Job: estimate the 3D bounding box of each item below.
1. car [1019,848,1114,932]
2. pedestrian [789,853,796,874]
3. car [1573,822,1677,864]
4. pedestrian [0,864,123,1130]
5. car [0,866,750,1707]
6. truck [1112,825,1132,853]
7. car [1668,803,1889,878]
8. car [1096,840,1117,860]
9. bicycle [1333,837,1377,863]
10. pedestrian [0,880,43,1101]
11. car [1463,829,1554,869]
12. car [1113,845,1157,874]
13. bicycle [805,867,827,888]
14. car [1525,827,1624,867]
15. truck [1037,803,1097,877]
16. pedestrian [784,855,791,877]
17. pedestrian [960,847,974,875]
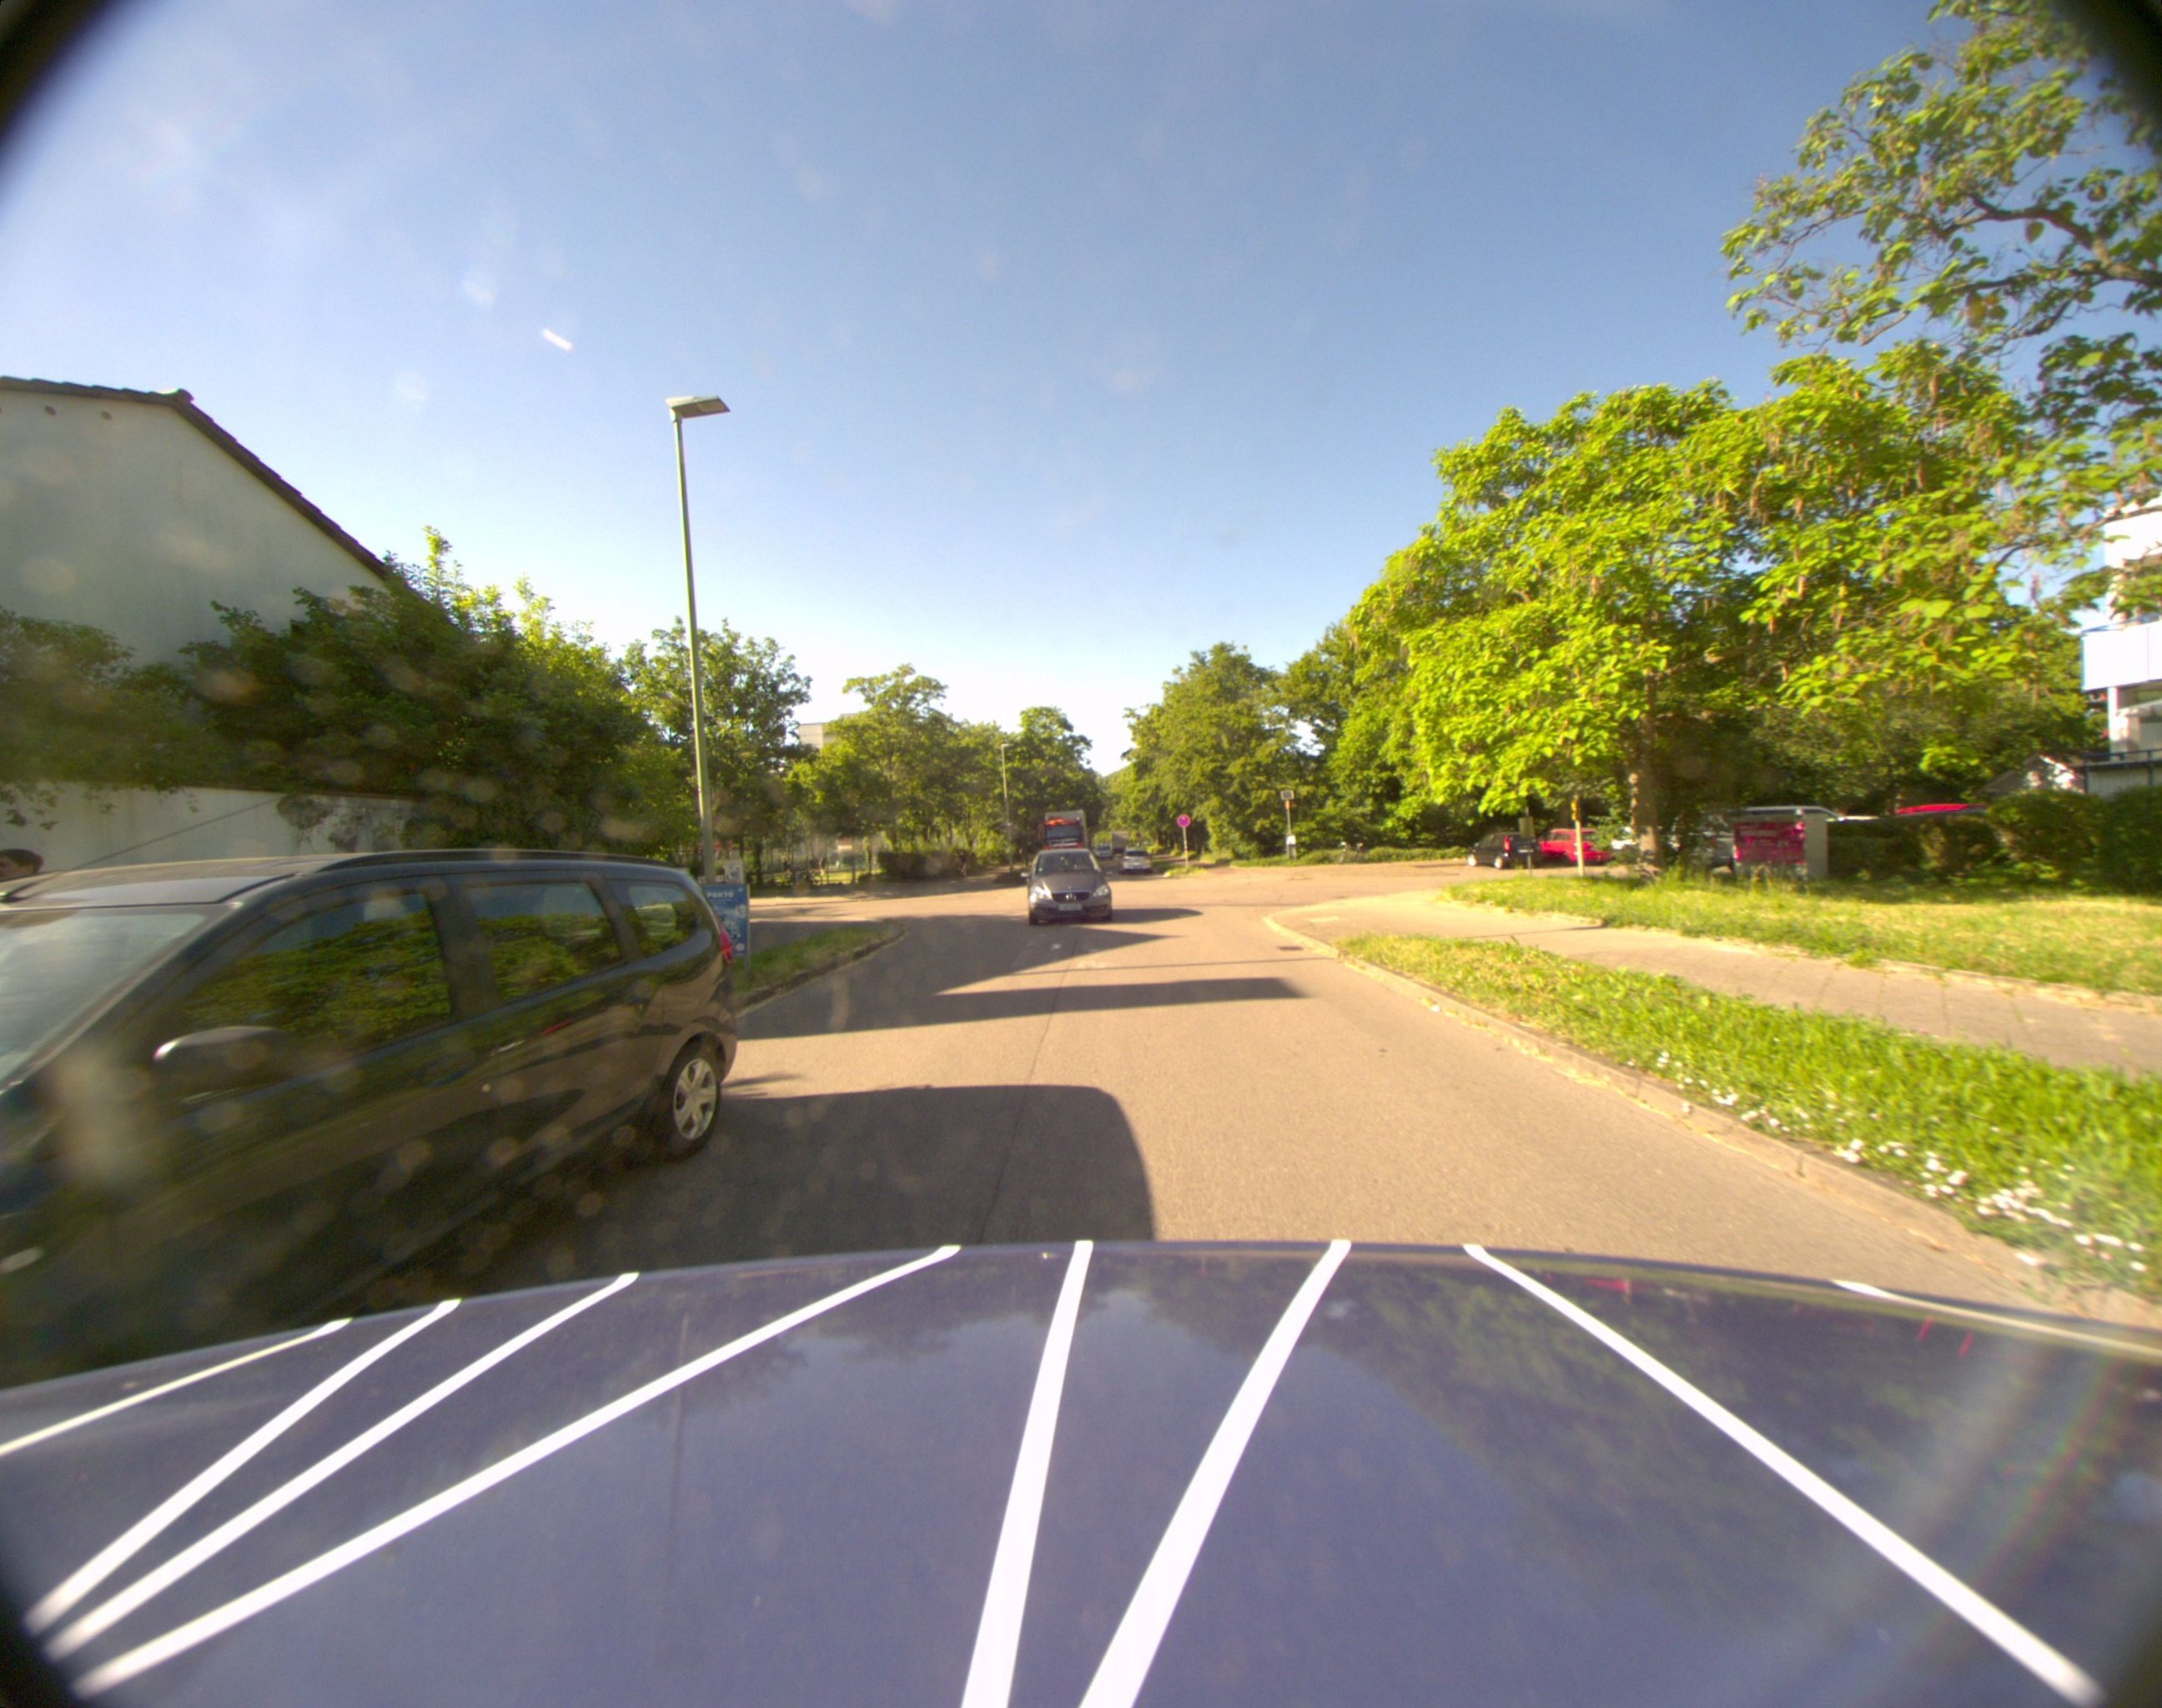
[{"bbox_3d":[-0.236,0.721,17.347,1.854,1.635,3.756,-3,1,2],"label":"car"},{"bbox_3d":[-21.797,0.704,57.465,0.317,1.527,0.401,-3,1,-2],"label":"pedestrian"},{"bbox_3d":[22.914,-0.518,32.193,1.674,1.594,3.884,-2,2,1],"label":"car"},{"bbox_3d":[-7.472,0.953,5.064,0.806,1.707,0.983,-1,2,-1],"label":"pedestrian"},{"bbox_3d":[-2.981,0.955,2.448,1.729,1.647,4.353,-3,1,2],"label":"car"},{"bbox_3d":[6.186,-2.380,115.637,2.803,3.996,9.624,-1,2,3],"label":"truck"},{"bbox_3d":[20.475,-0.365,22.500,4.461,1.958,2.069,-2,0,5],"label":"car"},{"bbox_3d":[2.509,-0.404,75.691,1.845,1.795,4.028,-3,1,0],"label":"car"},{"bbox_3d":[13.237,-0.186,36.709,1.902,1.146,0.760,-2,5,12],"label":"bicycle"},{"bbox_3d":[-8.172,1.015,5.331,0.574,1.600,0.792,-1,2,-1],"label":"pedestrian"},{"bbox_3d":[17.734,-0.242,31.745,1.674,1.479,3.884,-2,2,1],"label":"car"},{"bbox_3d":[3.020,0.264,43.239,1.666,1.458,4.184,-1,2,-7],"label":"car"},{"bbox_3d":[-12.972,1.130,37.183,0.294,0.953,0.909,-1,2,44],"label":"bicycle"},{"bbox_3d":[20.411,-0.334,31.632,1.674,1.479,3.884,-2,2,1],"label":"car"},{"bbox_3d":[-0.716,-0.922,51.216,3.166,4.320,10.583,-3,1,3],"label":"truck"},{"bbox_3d":[-21.154,0.871,54.759,0.320,1.527,0.393,-3,1,-2],"label":"pedestrian"},{"bbox_3d":[-6.761,0.428,45.145,0.641,1.629,0.641,-2,1,5],"label":"pedestrian"}]
